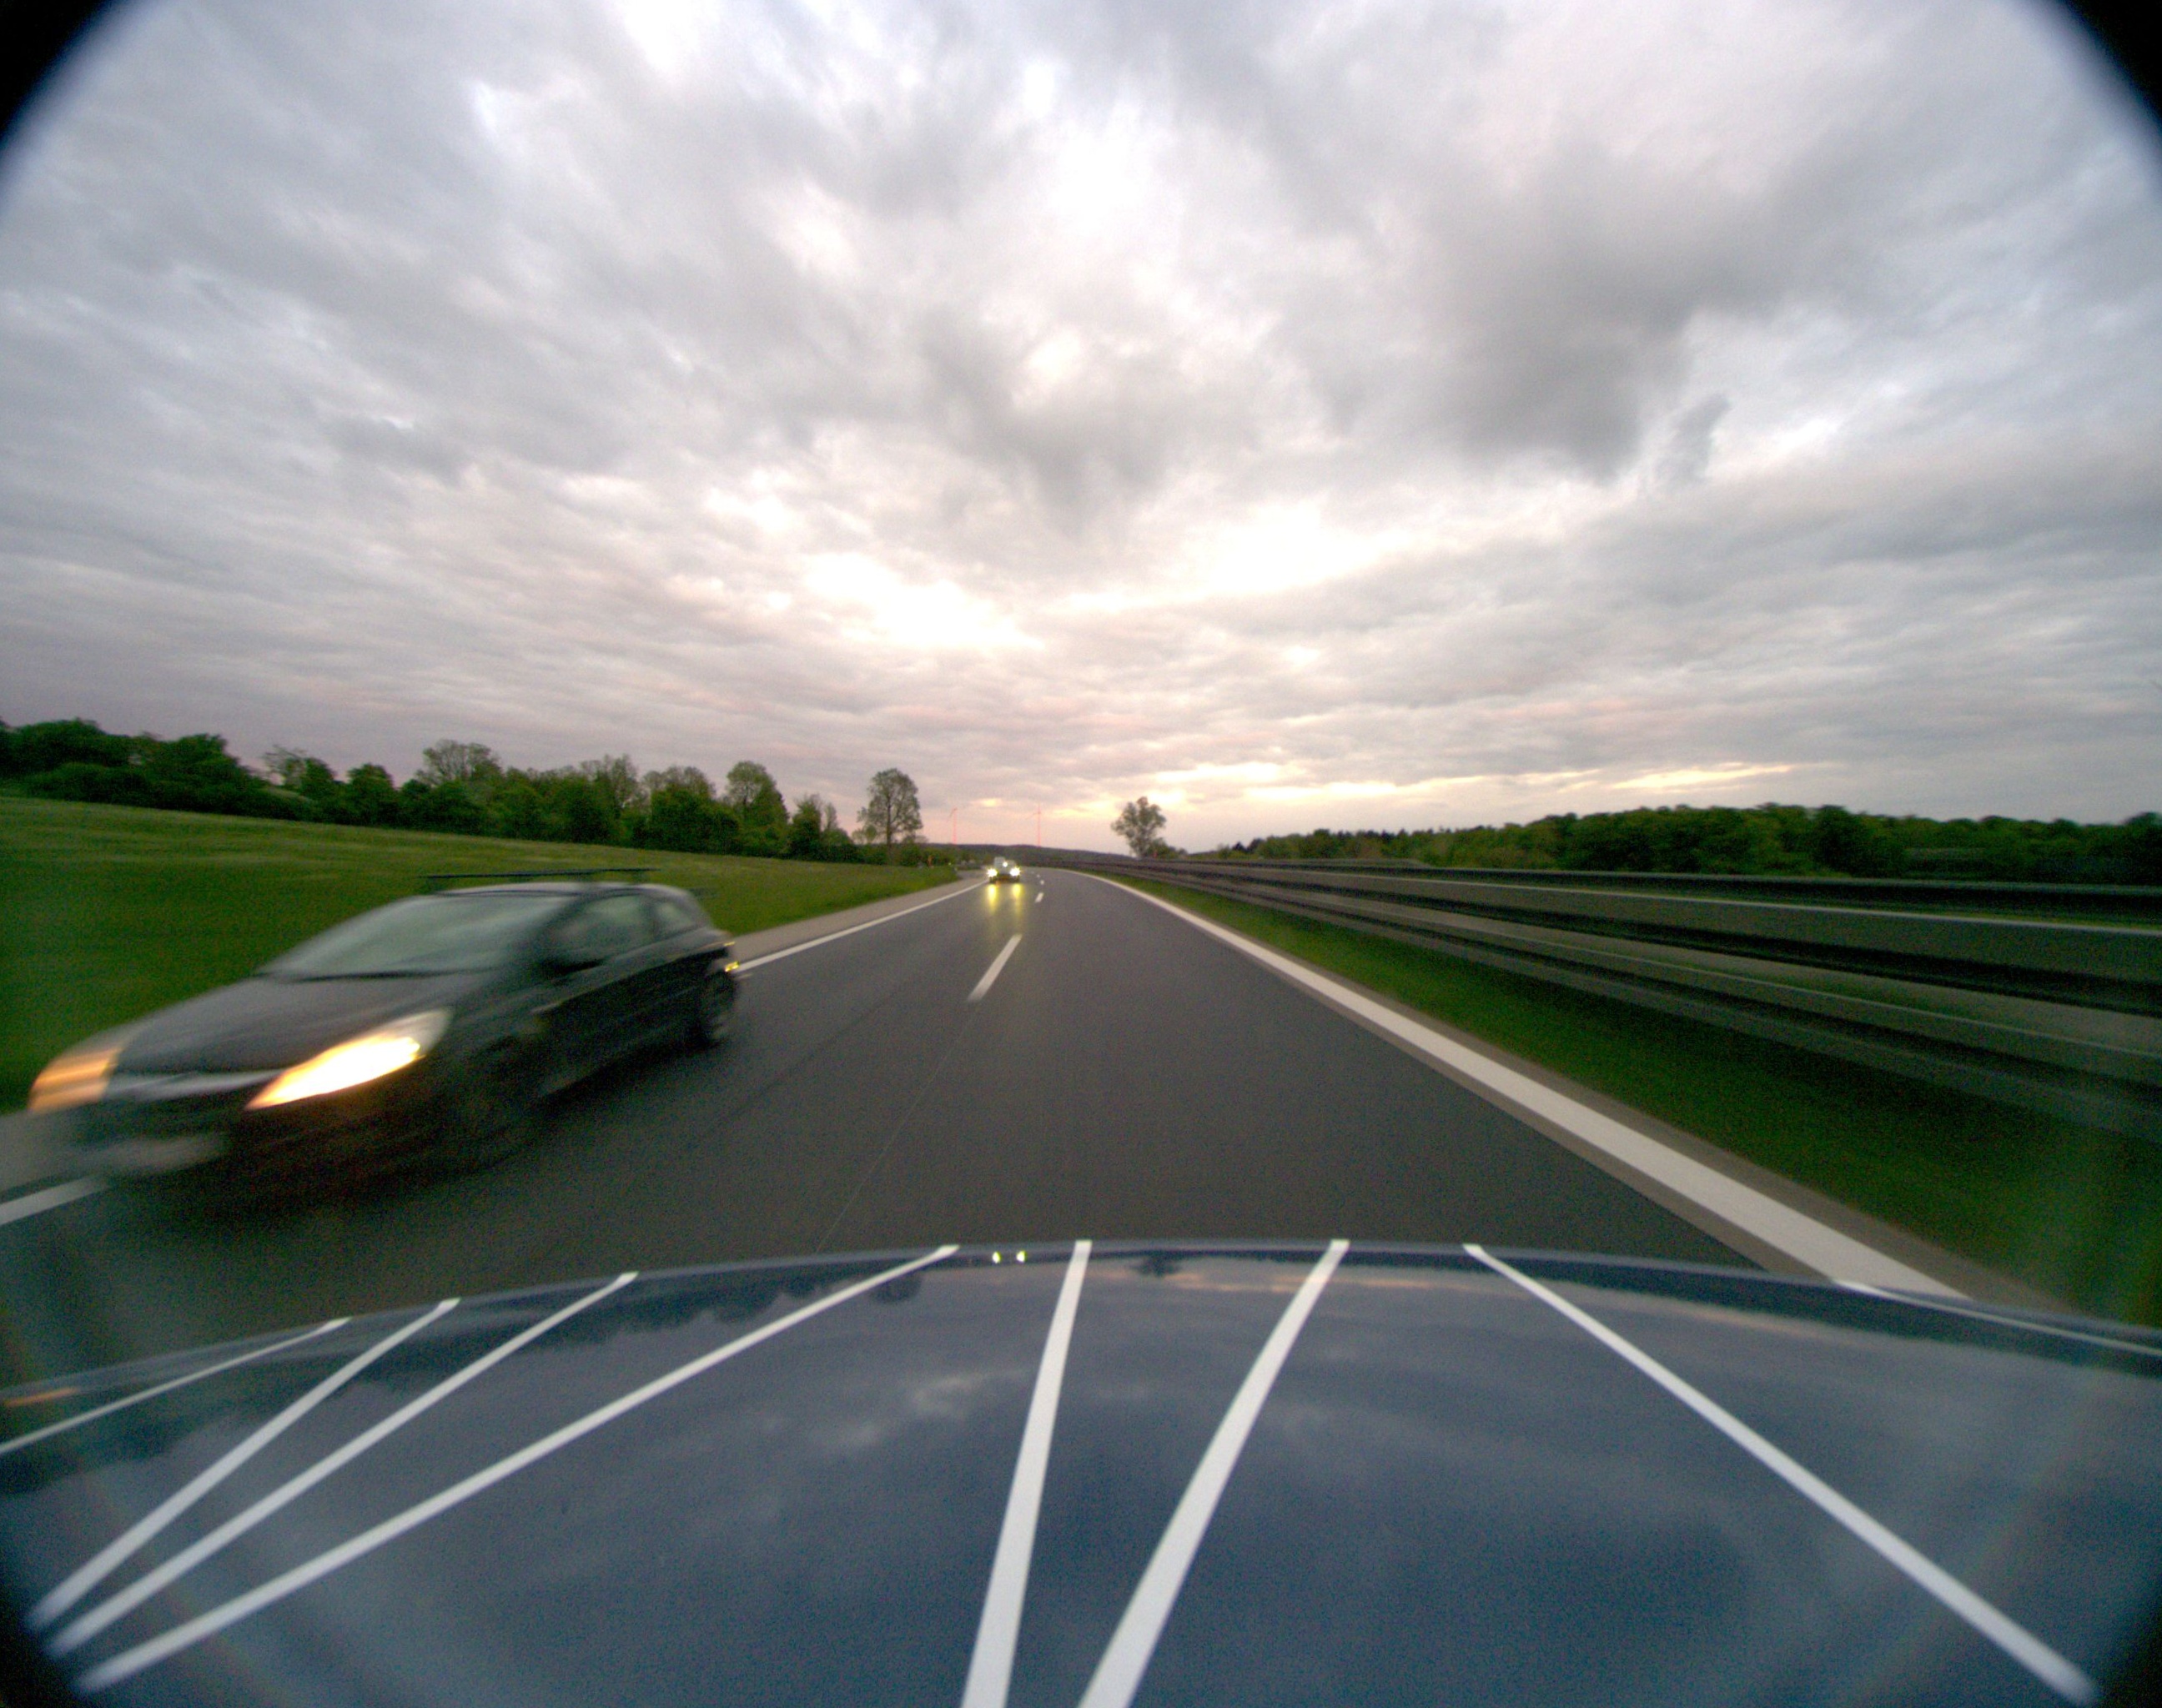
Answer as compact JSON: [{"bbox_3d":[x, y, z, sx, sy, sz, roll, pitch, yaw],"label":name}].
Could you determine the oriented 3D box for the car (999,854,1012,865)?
[{"bbox_3d":[-13.020,0.900,131.351,1.921,1.827,3.996,0,0,-10],"label":"car"}]

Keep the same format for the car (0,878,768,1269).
[{"bbox_3d":[-3.845,1.009,5.290,1.681,1.504,3.999,-2,0,-1],"label":"car"}]

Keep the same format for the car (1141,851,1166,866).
[{"bbox_3d":[8.006,0.475,83.809,2.000,1.499,3.997,0,0,-6],"label":"car"}]

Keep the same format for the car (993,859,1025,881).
[{"bbox_3d":[-4.660,1.022,49.806,1.885,1.388,3.999,0,0,-2],"label":"car"}]
